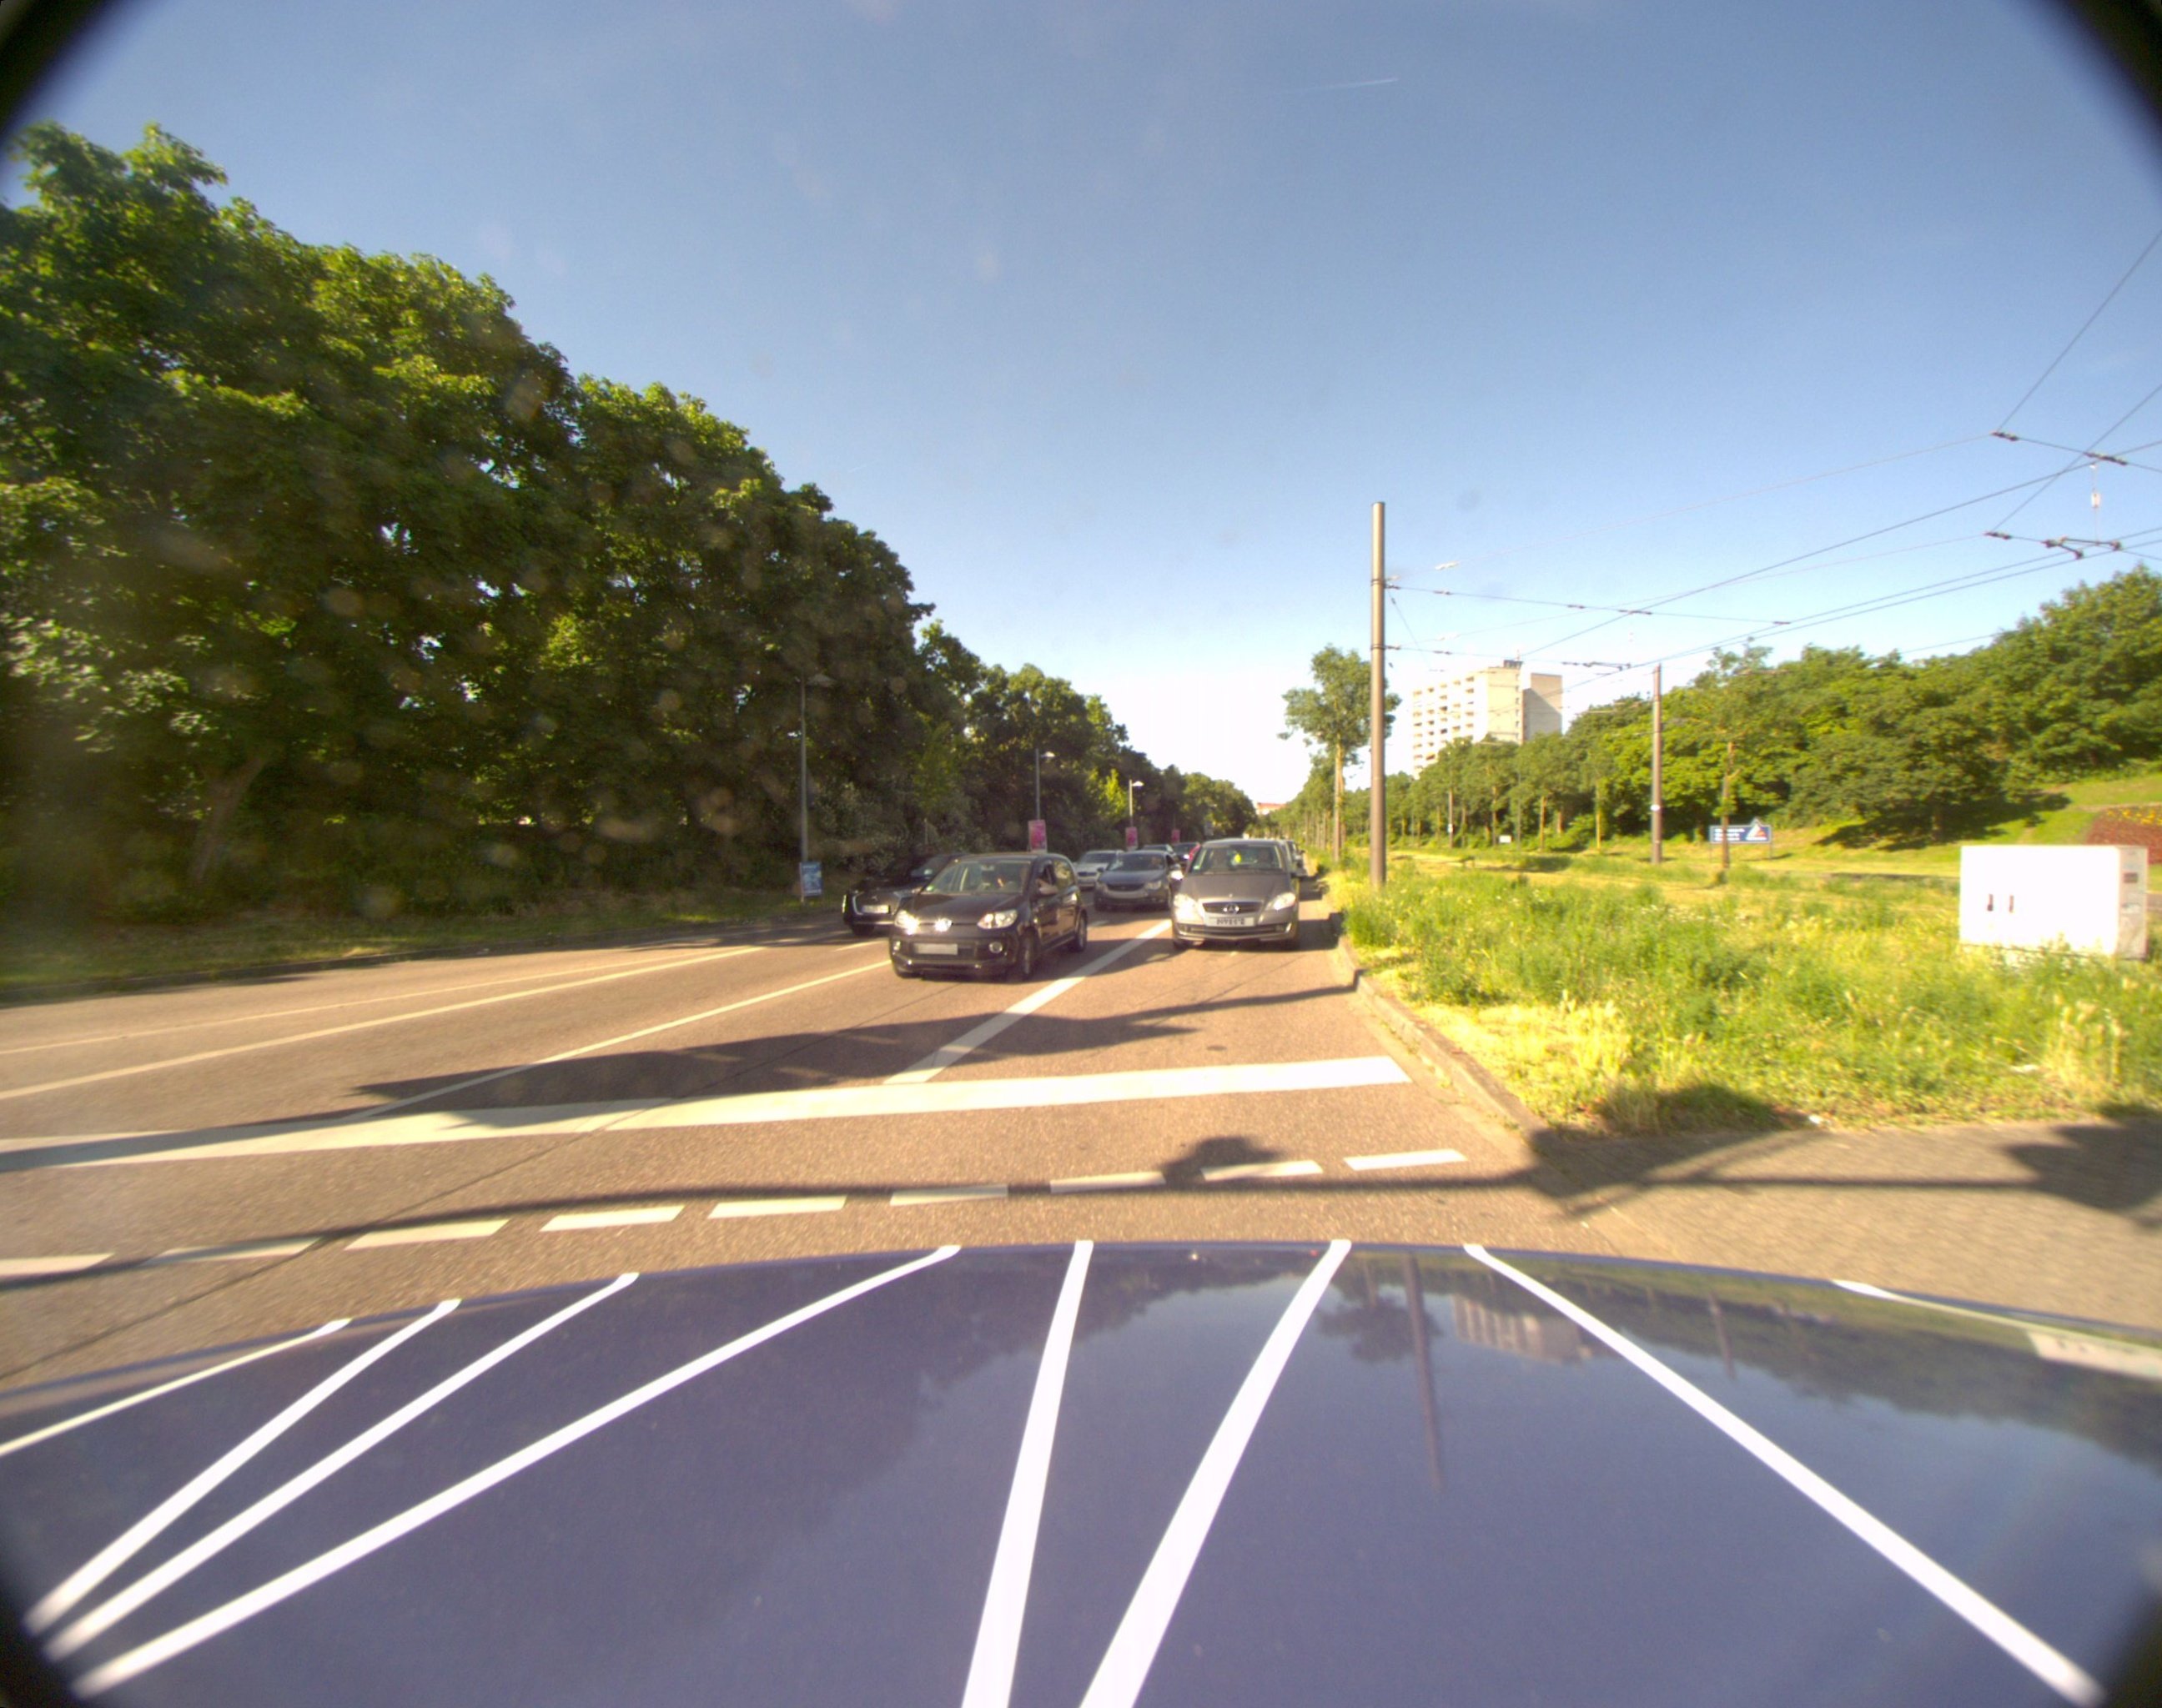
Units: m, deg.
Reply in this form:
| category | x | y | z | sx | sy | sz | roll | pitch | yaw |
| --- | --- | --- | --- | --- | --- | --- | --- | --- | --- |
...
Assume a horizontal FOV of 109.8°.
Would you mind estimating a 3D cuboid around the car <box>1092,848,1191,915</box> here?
| category | x | y | z | sx | sy | sz | roll | pitch | yaw |
| --- | --- | --- | --- | --- | --- | --- | --- | --- | --- |
| car | 1.633 | 0.613 | 19.091 | 1.712 | 1.430 | 4.175 | -1 | 1 | 15 |

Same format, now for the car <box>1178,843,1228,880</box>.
| category | x | y | z | sx | sy | sz | roll | pitch | yaw |
| --- | --- | --- | --- | --- | --- | --- | --- | --- | --- |
| car | 5.403 | 0.300 | 33.291 | 1.683 | 1.437 | 3.730 | -2 | 1 | 16 |

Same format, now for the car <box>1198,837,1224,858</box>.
| category | x | y | z | sx | sy | sz | roll | pitch | yaw |
| --- | --- | --- | --- | --- | --- | --- | --- | --- | --- |
| car | 10.084 | -0.547 | 58.844 | 1.650 | 1.521 | 3.899 | -2 | 1 | 15 |

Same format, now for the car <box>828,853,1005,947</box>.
| category | x | y | z | sx | sy | sz | roll | pitch | yaw |
| --- | --- | --- | --- | --- | --- | --- | --- | --- | --- |
| car | -3.016 | 0.788 | 14.858 | 1.712 | 1.485 | 3.967 | -1 | 1 | 15 |

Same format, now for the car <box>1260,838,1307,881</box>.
| category | x | y | z | sx | sy | sz | roll | pitch | yaw |
| --- | --- | --- | --- | --- | --- | --- | --- | --- | --- |
| car | 8.211 | 0.184 | 30.890 | 1.747 | 1.652 | 4.004 | -1 | 1 | 15 |

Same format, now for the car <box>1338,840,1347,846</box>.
| category | x | y | z | sx | sy | sz | roll | pitch | yaw |
| --- | --- | --- | --- | --- | --- | --- | --- | --- | --- |
| car | 60.998 | -2.592 | 177.380 | 1.576 | 1.412 | 3.913 | -1 | 1 | 15 |

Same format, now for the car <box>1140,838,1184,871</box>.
| category | x | y | z | sx | sy | sz | roll | pitch | yaw |
| --- | --- | --- | --- | --- | --- | --- | --- | --- | --- |
| car | 4.339 | -0.017 | 40.339 | 1.747 | 1.652 | 4.004 | -1 | 1 | 15 |

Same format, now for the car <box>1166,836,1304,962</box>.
| category | x | y | z | sx | sy | sz | roll | pitch | yaw |
| --- | --- | --- | --- | --- | --- | --- | --- | --- | --- |
| car | 2.520 | 0.571 | 11.983 | 1.747 | 1.631 | 4.004 | -1 | 1 | 15 |

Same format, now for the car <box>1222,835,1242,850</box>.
| category | x | y | z | sx | sy | sz | roll | pitch | yaw |
| --- | --- | --- | --- | --- | --- | --- | --- | --- | --- |
| car | 15.763 | -1.262 | 79.261 | 1.712 | 1.485 | 3.967 | -1 | 1 | 15 |

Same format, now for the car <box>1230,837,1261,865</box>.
| category | x | y | z | sx | sy | sz | roll | pitch | yaw |
| --- | --- | --- | --- | --- | --- | --- | --- | --- | --- |
| car | 10.600 | -0.199 | 48.825 | 1.747 | 1.652 | 4.003 | -2 | 1 | 15 |

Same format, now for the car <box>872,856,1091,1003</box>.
| category | x | y | z | sx | sy | sz | roll | pitch | yaw |
| --- | --- | --- | --- | --- | --- | --- | --- | --- | --- |
| car | -1.081 | 0.821 | 9.909 | 1.620 | 1.485 | 3.456 | -1 | 1 | 14 |

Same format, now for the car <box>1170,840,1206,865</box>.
| category | x | y | z | sx | sy | sz | roll | pitch | yaw |
| --- | --- | --- | --- | --- | --- | --- | --- | --- | --- |
| car | 6.764 | -0.110 | 47.743 | 1.712 | 1.485 | 3.967 | -1 | 1 | 15 |

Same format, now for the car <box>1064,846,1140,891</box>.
| category | x | y | z | sx | sy | sz | roll | pitch | yaw |
| --- | --- | --- | --- | --- | --- | --- | --- | --- | --- |
| car | 0.877 | 0.476 | 28.061 | 1.747 | 1.428 | 4.390 | -1 | 1 | 15 |

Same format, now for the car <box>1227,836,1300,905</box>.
| category | x | y | z | sx | sy | sz | roll | pitch | yaw |
| --- | --- | --- | --- | --- | --- | --- | --- | --- | --- |
| car | 5.081 | 0.378 | 21.025 | 1.747 | 1.652 | 4.003 | -2 | 1 | 15 |
